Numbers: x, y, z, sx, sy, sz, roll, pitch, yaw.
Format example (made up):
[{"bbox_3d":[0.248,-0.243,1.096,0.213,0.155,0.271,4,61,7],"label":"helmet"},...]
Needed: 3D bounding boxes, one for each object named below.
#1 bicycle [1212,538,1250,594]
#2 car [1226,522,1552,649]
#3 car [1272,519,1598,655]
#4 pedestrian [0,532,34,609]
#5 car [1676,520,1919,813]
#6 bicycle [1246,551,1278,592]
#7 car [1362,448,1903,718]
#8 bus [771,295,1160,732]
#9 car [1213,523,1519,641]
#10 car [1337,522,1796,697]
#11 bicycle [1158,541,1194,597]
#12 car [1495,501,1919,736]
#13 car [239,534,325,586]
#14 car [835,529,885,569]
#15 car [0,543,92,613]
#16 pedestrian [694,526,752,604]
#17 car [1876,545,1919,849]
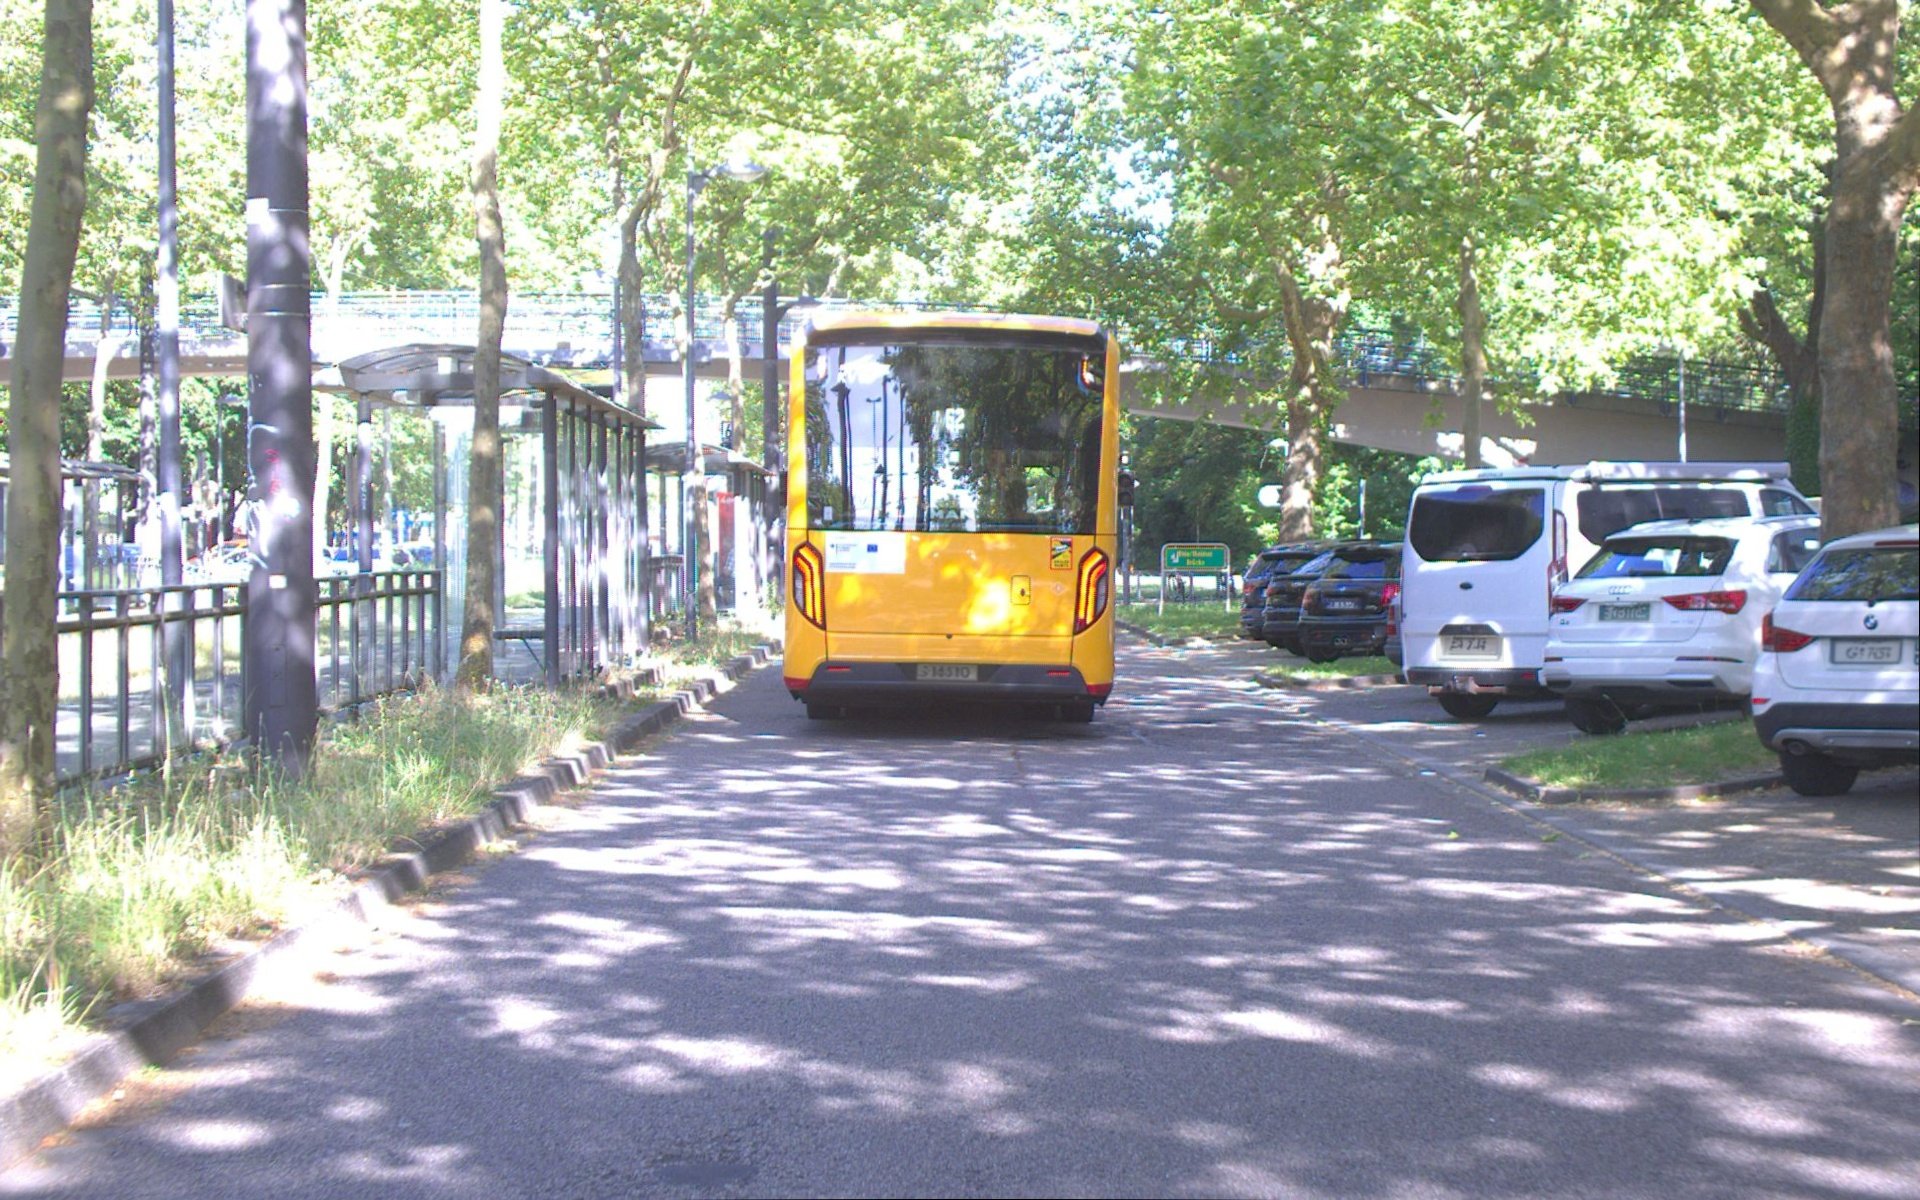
[{"bbox_3d":[6.064,-0.765,76.974,0.590,1.179,1.800,-3,2,-1],"label":"bicycle"},{"bbox_3d":[5.660,-0.203,45.106,4.244,1.456,1.799,-3,1,-40],"label":"car"},{"bbox_3d":[5.849,-0.174,42.074,3.989,1.463,1.782,-3,1,-43],"label":"car"},{"bbox_3d":[-15.274,-0.474,54.935,0.778,1.233,0.722,0,1,-2],"label":"pedestrian"},{"bbox_3d":[6.045,0.281,19.876,1.798,1.505,4.202,-2,1,42],"label":"car"},{"bbox_3d":[6.750,-0.643,76.918,0.505,0.849,1.473,-3,2,-1],"label":"bicycle"},{"bbox_3d":[5.755,-0.185,29.129,4.577,2.045,2.017,-3,1,-40],"label":"car"},{"bbox_3d":[-0.102,-0.752,31.772,2.899,3.255,12.219,0,1,-1],"label":"bus"},{"bbox_3d":[5.718,-0.263,48.126,4.244,1.456,1.799,-3,1,-40],"label":"car"},{"bbox_3d":[5.828,0.063,32.690,4.577,1.418,1.799,-3,1,-42],"label":"car"},{"bbox_3d":[4.837,-0.698,77.028,0.590,1.179,1.800,-3,2,-1],"label":"bicycle"},{"bbox_3d":[6.085,0.091,26.134,4.047,1.575,1.832,-3,1,-43],"label":"car"},{"bbox_3d":[-20.813,-1.244,105.657,1.794,1.575,4.288,0,1,0],"label":"car"},{"bbox_3d":[-4.493,-2.317,155.066,1.986,1.637,4.134,3,2,1],"label":"car"},{"bbox_3d":[-21.458,-0.523,79.818,1.794,1.561,4.289,0,1,-4],"label":"car"},{"bbox_3d":[-3.853,-0.579,55.895,0.855,1.239,0.850,1,1,1],"label":"pedestrian"},{"bbox_3d":[6.391,0.360,16.979,1.831,1.414,3.990,-1,1,45],"label":"car"}]
